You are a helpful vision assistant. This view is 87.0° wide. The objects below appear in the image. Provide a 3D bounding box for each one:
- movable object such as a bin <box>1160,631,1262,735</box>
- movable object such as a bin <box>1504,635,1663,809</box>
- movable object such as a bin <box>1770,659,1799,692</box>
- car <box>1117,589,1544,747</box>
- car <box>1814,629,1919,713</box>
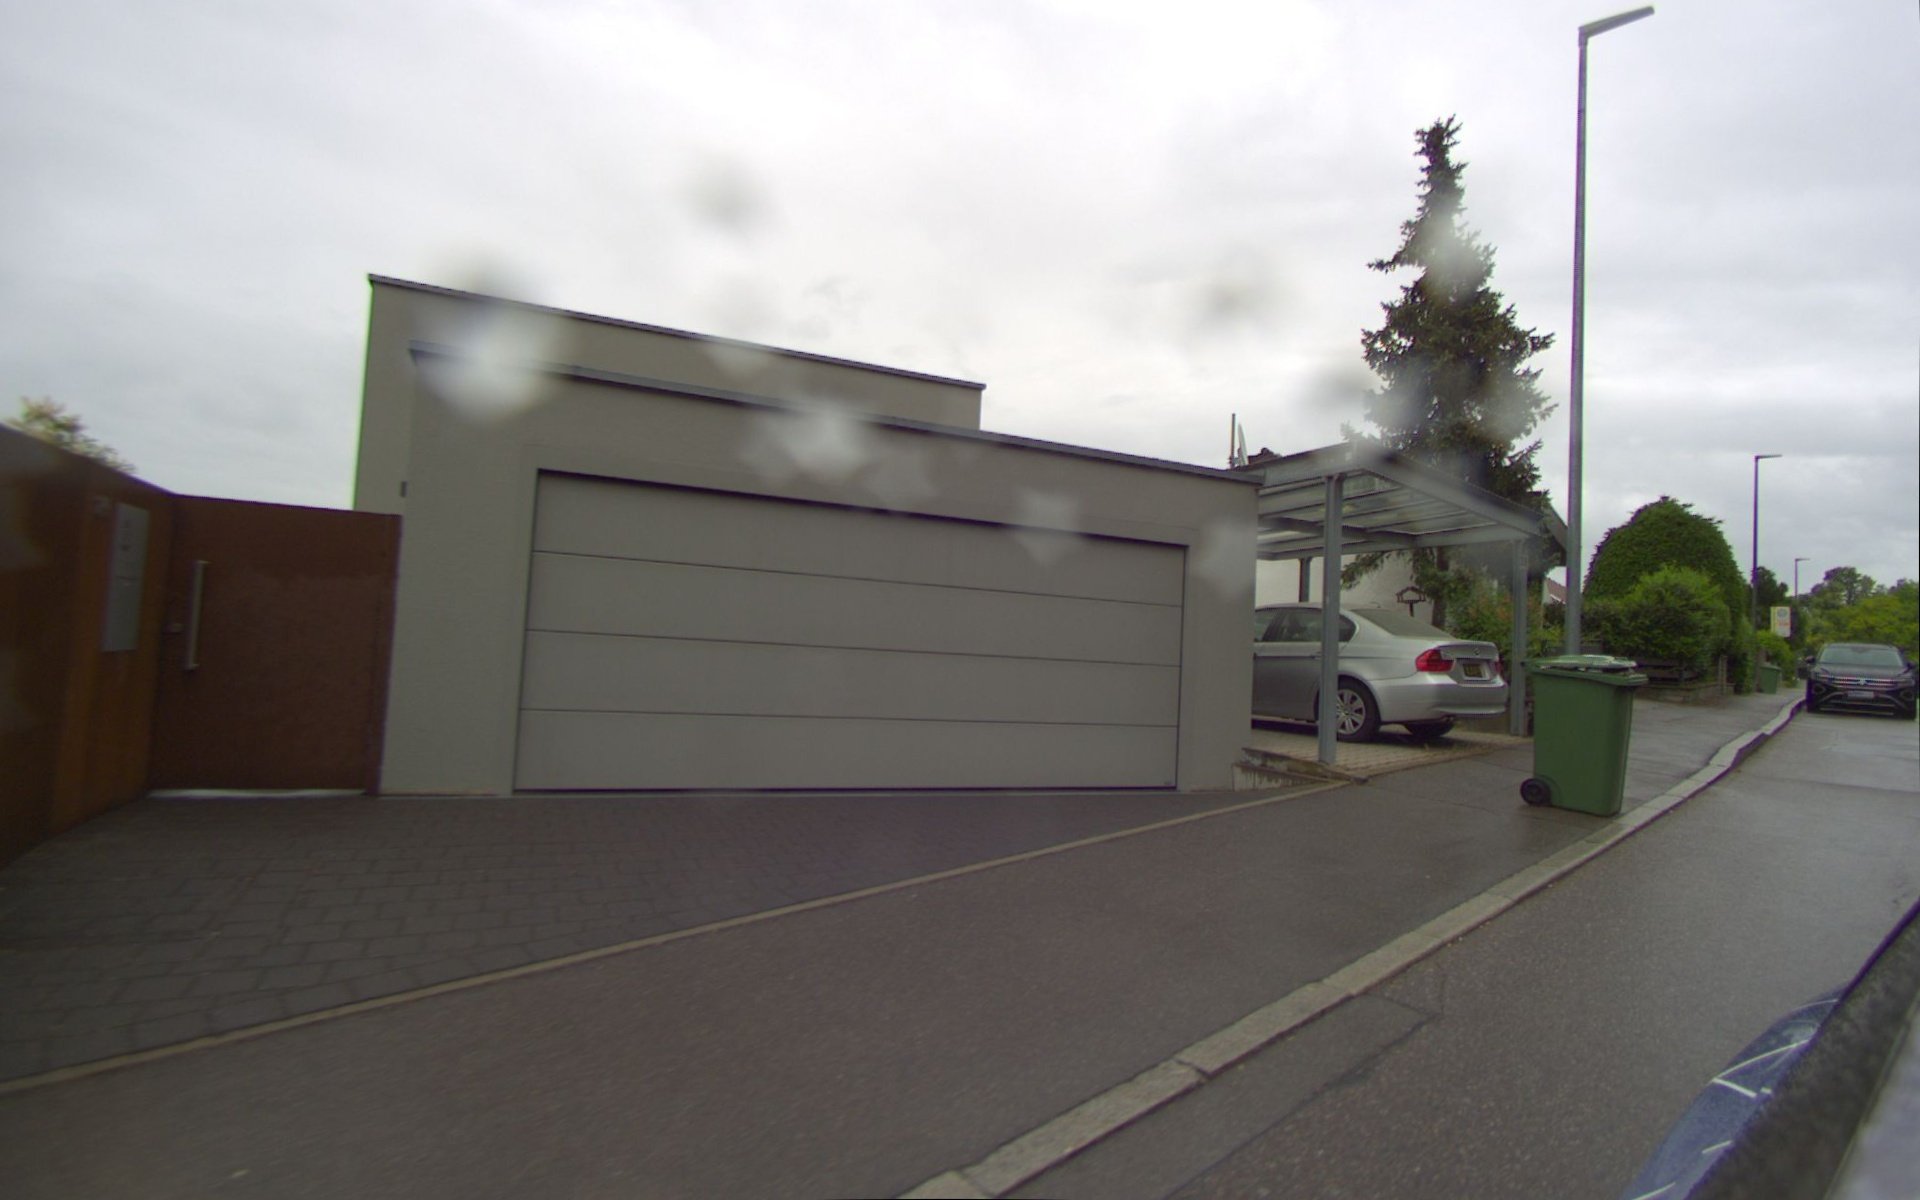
[{"bbox_3d":[2.546,0.827,10.334,0.493,0.966,0.953,2,0,-25],"label":"movable object such as a bin"},{"bbox_3d":[4.563,0.852,7.412,0.664,1.109,0.790,2,3,-45],"label":"movable object such as a bin"},{"bbox_3d":[29.865,2.724,36.656,0.739,1.102,0.590,3,-1,45],"label":"movable object such as a bin"},{"bbox_3d":[3.949,0.659,11.480,1.904,1.433,4.229,1,-2,-35],"label":"car"},{"bbox_3d":[20.097,1.558,22.320,1.874,1.612,4.411,1,-3,41],"label":"car"}]
